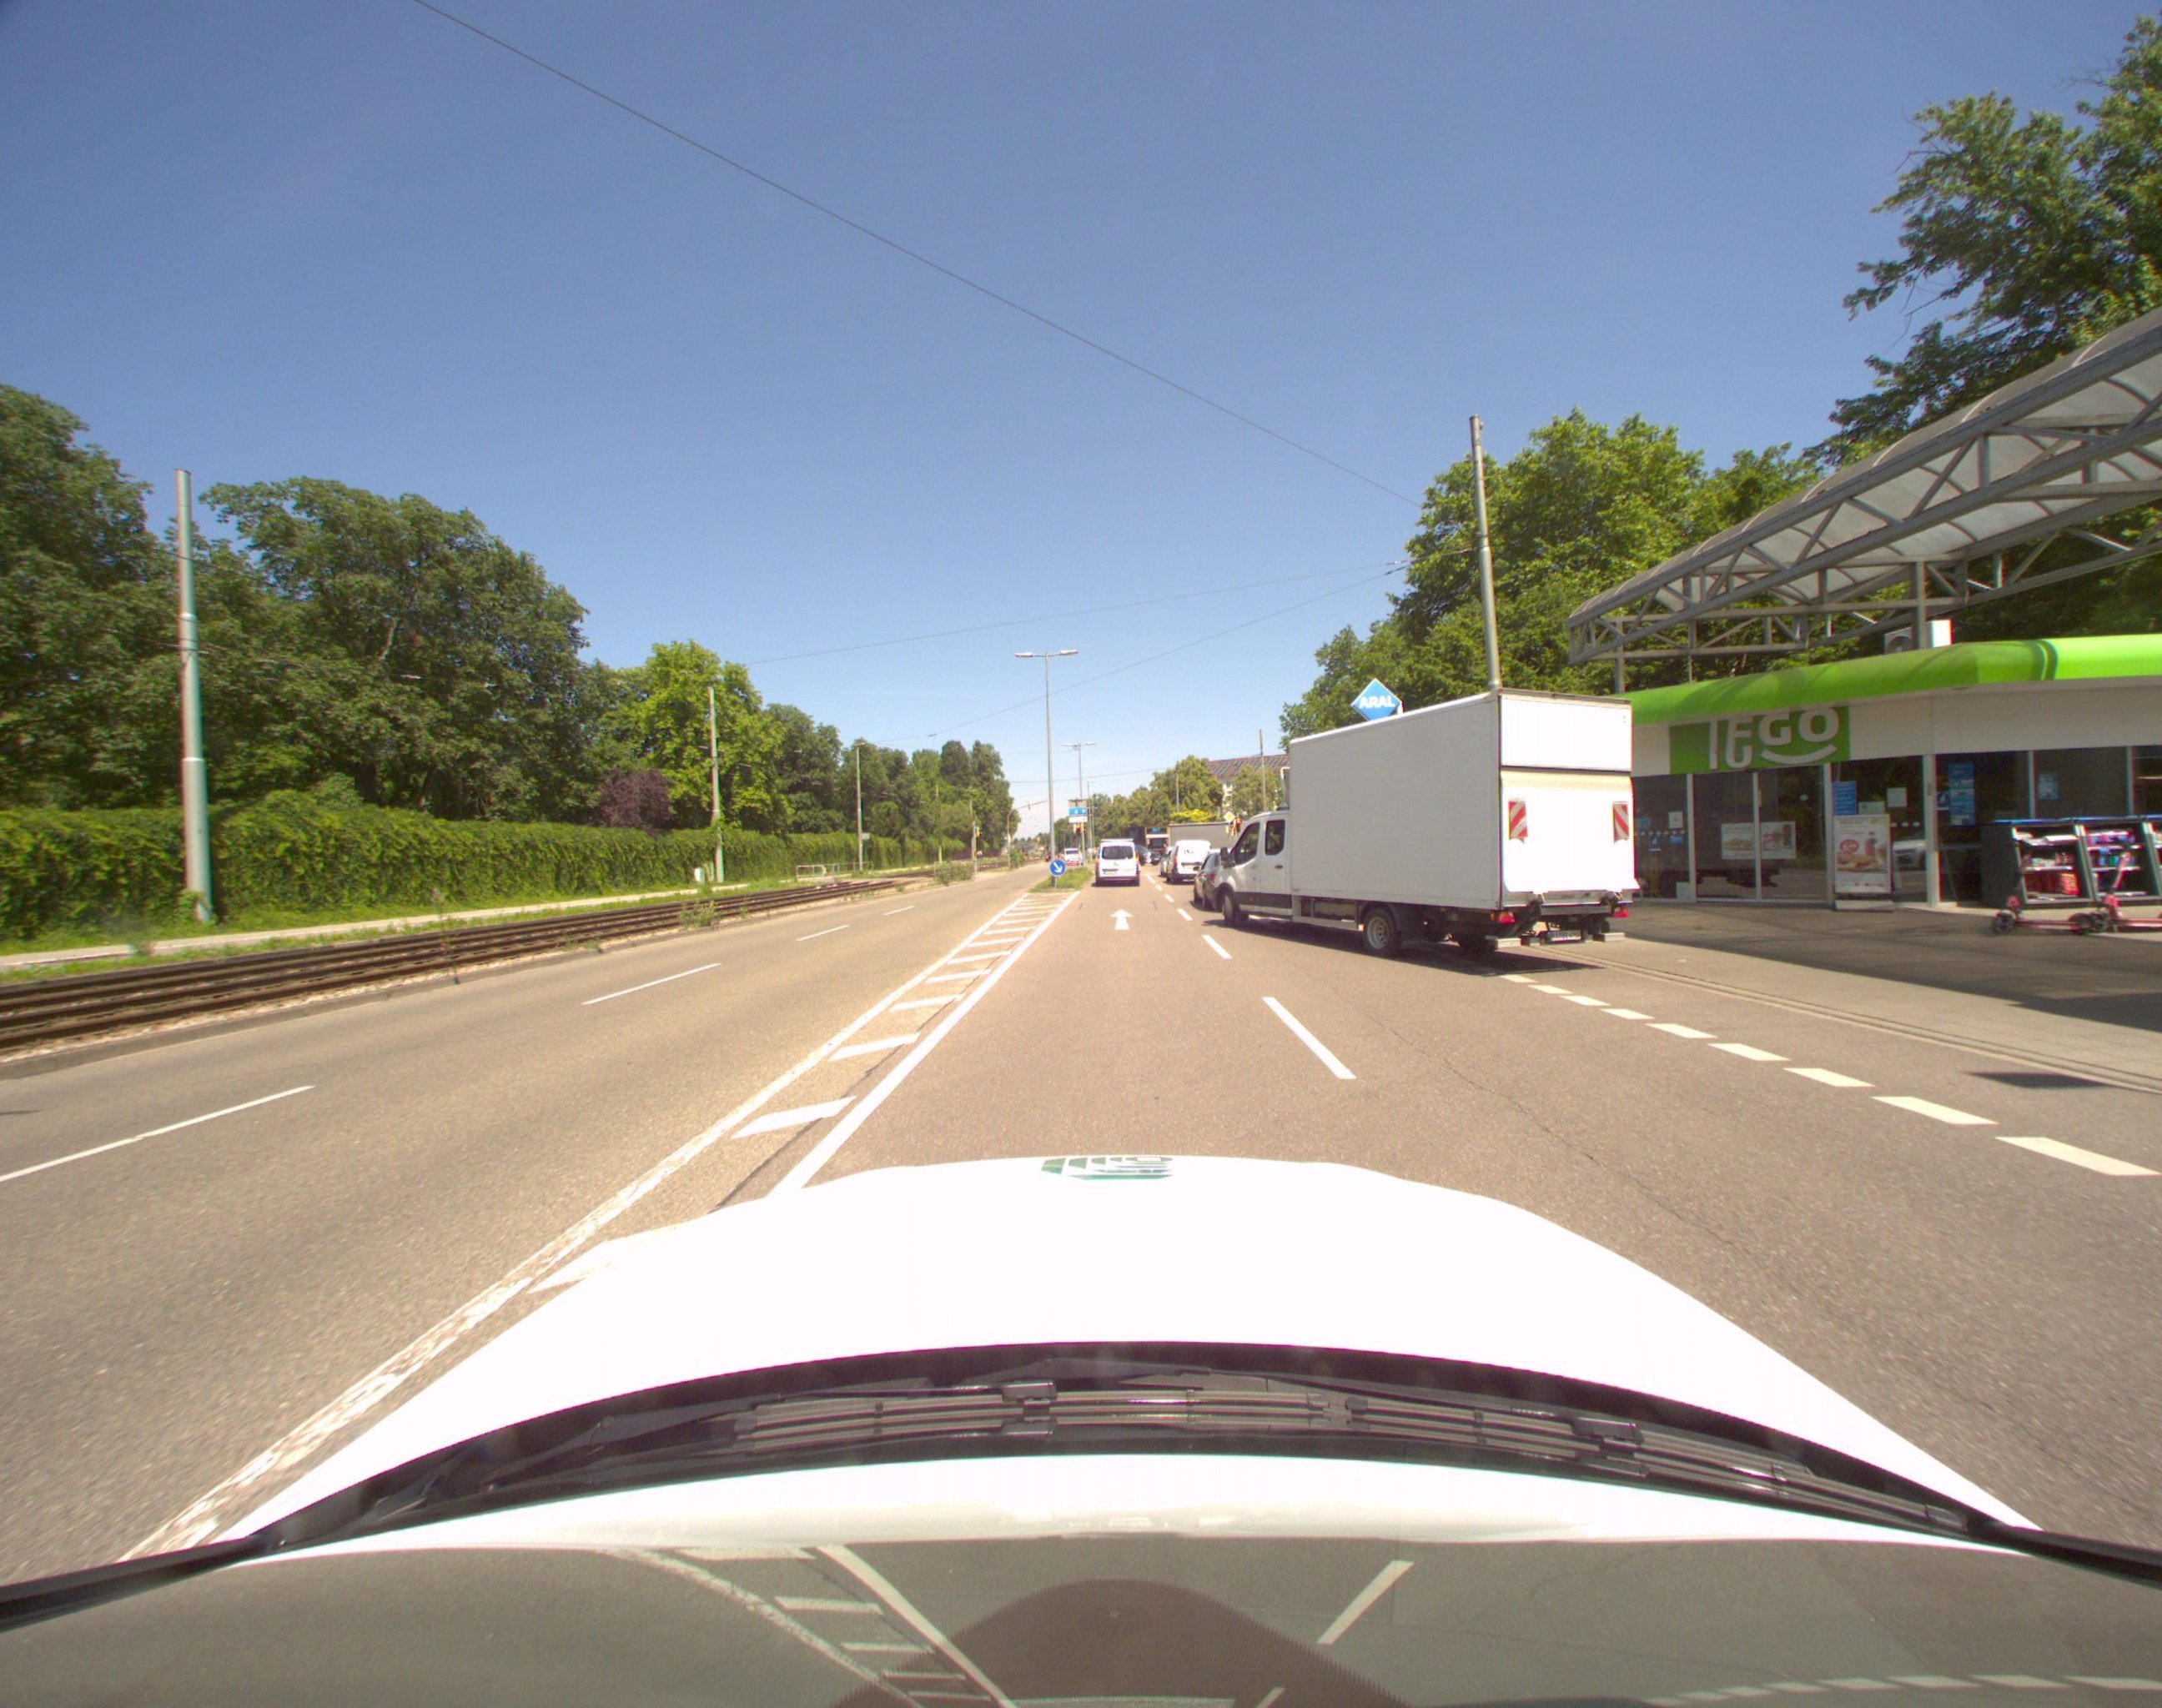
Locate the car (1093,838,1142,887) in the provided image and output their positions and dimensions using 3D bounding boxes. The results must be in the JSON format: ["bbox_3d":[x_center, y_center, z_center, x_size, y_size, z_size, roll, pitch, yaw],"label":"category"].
[{"bbox_3d":[1.472,0.331,33.402,1.860,1.836,3.850,-2,0,2],"label":"car"}]

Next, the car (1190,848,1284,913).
[{"bbox_3d":[3.893,0.600,21.034,1.788,1.449,4.422,-2,0,3],"label":"car"}]

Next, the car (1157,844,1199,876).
[{"bbox_3d":[4.931,0.277,41.812,1.749,1.486,4.002,-2,0,2],"label":"car"}]

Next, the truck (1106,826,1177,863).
[{"bbox_3d":[6.292,-0.911,86.397,3.595,3.632,8.733,-2,0,-26],"label":"truck"}]

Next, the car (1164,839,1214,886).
[{"bbox_3d":[4.455,0.329,34.024,1.703,1.830,4.016,-2,0,3],"label":"car"}]

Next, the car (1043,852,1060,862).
[{"bbox_3d":[-4.062,0.428,113.448,1.975,1.358,4.542,-2,0,3],"label":"car"}]

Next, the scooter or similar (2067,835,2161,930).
[{"bbox_3d":[13.561,0.361,10.516,1.130,1.176,0.384,-2,0,3],"label":"scooter or similar"}]

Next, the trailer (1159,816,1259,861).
[{"bbox_3d":[12.501,-1.456,79.683,8.860,4.050,3.562,-2,0,34],"label":"trailer"}]

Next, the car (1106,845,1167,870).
[{"bbox_3d":[4.477,0.256,65.520,4.489,1.829,2.009,-2,0,17],"label":"car"}]

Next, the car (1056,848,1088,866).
[{"bbox_3d":[-0.920,0.330,78.436,1.997,1.617,4.432,-2,0,-15],"label":"car"}]

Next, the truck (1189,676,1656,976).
[{"bbox_3d":[4.646,-0.335,13.306,2.427,3.391,7.783,-2,0,-19],"label":"truck"}]

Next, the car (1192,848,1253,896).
[{"bbox_3d":[4.574,0.559,26.690,1.600,1.451,3.524,0,0,3],"label":"car"}]
